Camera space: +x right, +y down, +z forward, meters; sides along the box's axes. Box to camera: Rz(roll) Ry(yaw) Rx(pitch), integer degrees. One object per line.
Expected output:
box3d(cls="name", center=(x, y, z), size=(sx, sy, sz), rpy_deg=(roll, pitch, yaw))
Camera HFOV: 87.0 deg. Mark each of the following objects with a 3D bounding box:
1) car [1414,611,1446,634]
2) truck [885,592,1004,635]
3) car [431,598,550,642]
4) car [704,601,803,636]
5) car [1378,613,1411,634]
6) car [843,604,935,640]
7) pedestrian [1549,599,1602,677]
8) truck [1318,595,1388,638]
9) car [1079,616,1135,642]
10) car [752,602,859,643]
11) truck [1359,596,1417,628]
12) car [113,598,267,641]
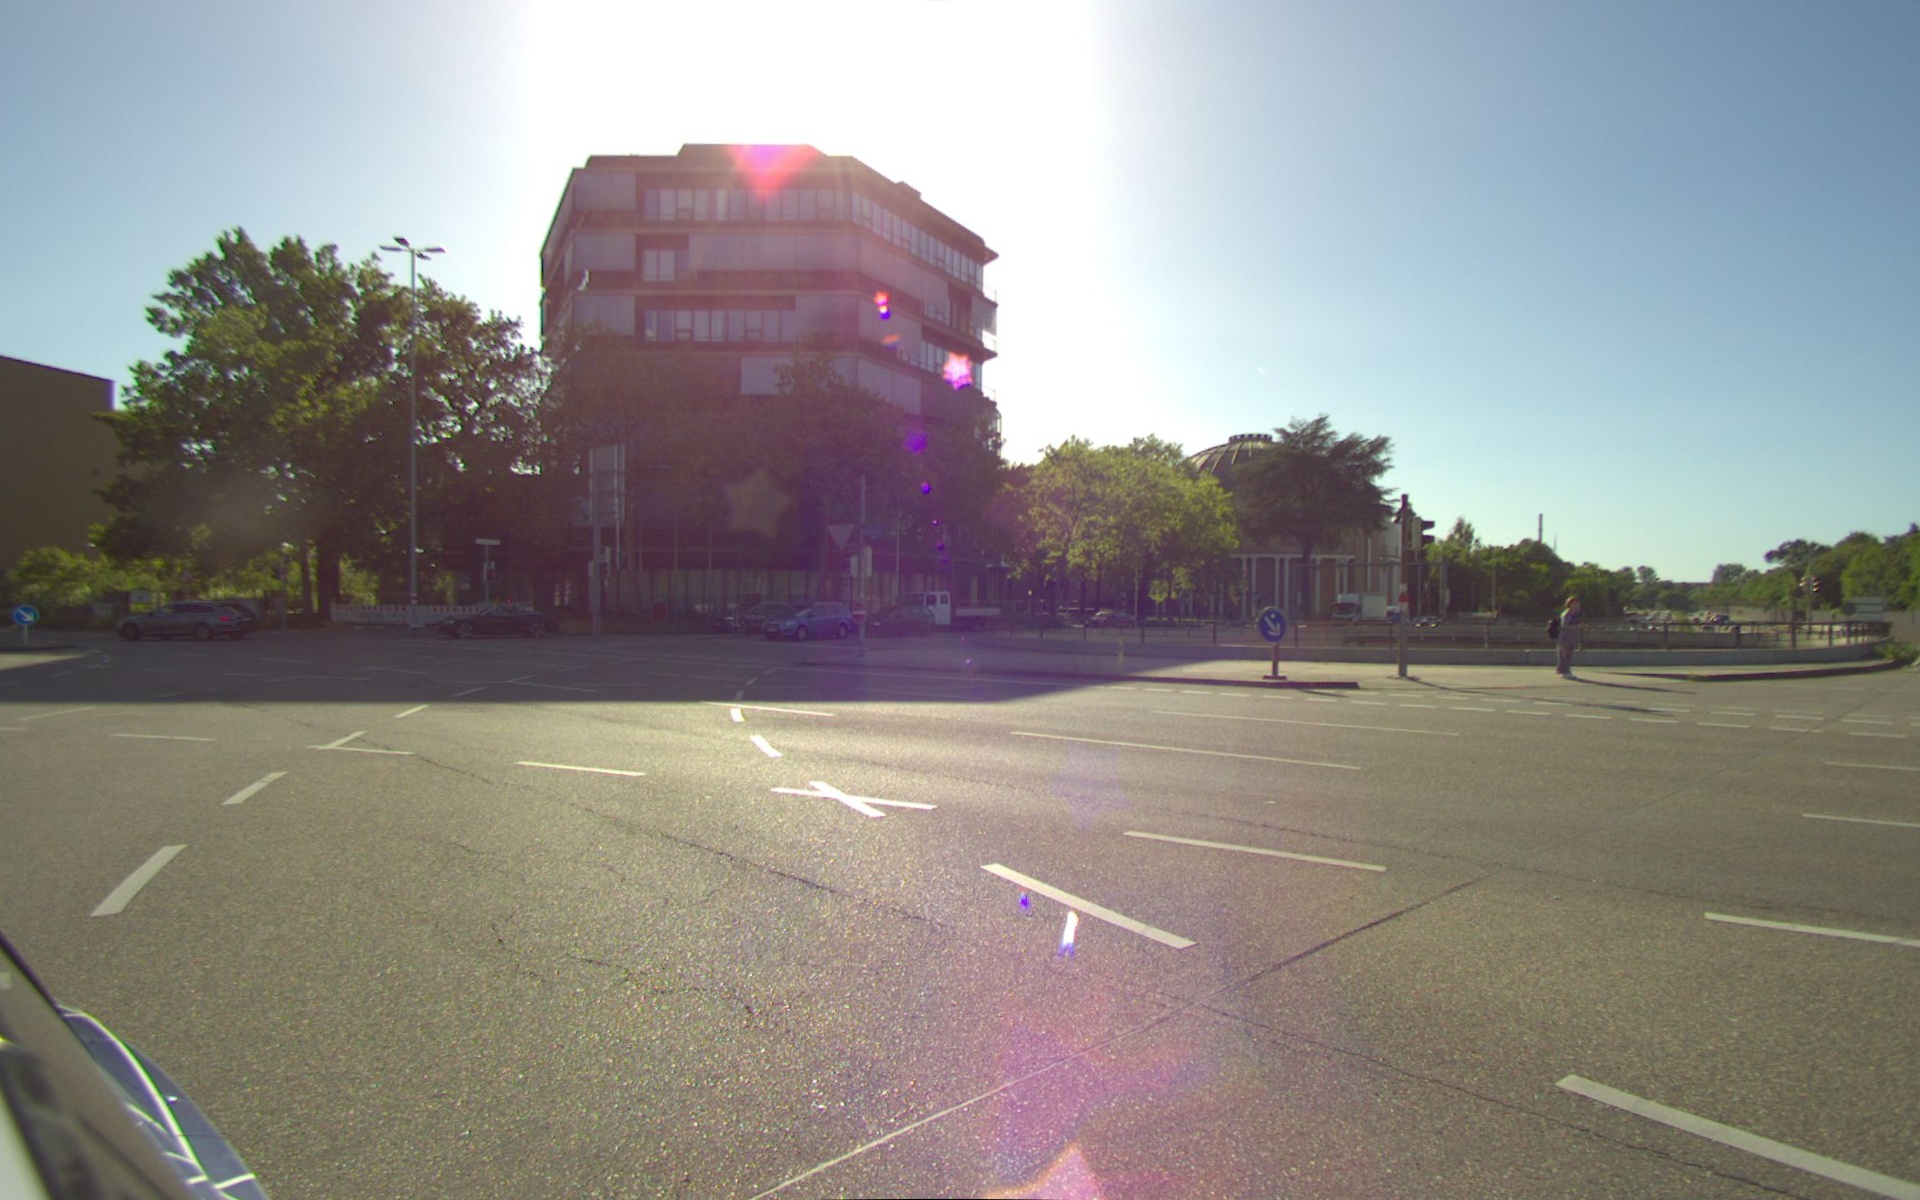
box3d(cls="car", center=(47.316, 2.234, 101.797), size=(1.998, 2.028, 3.948), rpy_deg=(2, 3, 39))
box3d(cls="truck", center=(-0.812, 0.742, 59.069), size=(7.400, 2.377, 2.166), rpy_deg=(0, 0, -43))
box3d(cls="car", center=(-19.156, 0.772, 41.348), size=(4.127, 1.713, 1.819), rpy_deg=(0, 0, -36))
box3d(cls="car", center=(-10.108, 0.878, 49.617), size=(4.440, 1.657, 1.882), rpy_deg=(0, 0, -43))
box3d(cls="car", center=(40.152, 2.182, 93.466), size=(1.739, 1.696, 3.998), rpy_deg=(2, 3, 39))
box3d(cls="car", center=(-3.208, 0.960, 46.801), size=(1.947, 1.552, 4.405), rpy_deg=(0, 0, 35))
box3d(cls="pedestrian", center=(11.850, 0.723, 19.502), size=(0.696, 1.474, 0.678), rpy_deg=(0, 0, 13))
box3d(cls="truck", center=(37.897, 1.501, 97.392), size=(3.847, 3.825, 9.227), rpy_deg=(0, 1, 37))
box3d(cls="car", center=(10.292, 1.994, 70.672), size=(1.815, 1.713, 4.136), rpy_deg=(0, 0, 44))
box3d(cls="car", center=(-6.328, 0.882, 41.890), size=(1.947, 1.552, 4.405), rpy_deg=(0, 0, 35))
box3d(cls="truck", center=(45.075, 1.191, 106.512), size=(3.847, 3.039, 7.653), rpy_deg=(0, 1, 37))
box3d(cls="car", center=(-29.197, 0.746, 38.456), size=(4.446, 1.368, 1.880), rpy_deg=(-3, -3, 0))
